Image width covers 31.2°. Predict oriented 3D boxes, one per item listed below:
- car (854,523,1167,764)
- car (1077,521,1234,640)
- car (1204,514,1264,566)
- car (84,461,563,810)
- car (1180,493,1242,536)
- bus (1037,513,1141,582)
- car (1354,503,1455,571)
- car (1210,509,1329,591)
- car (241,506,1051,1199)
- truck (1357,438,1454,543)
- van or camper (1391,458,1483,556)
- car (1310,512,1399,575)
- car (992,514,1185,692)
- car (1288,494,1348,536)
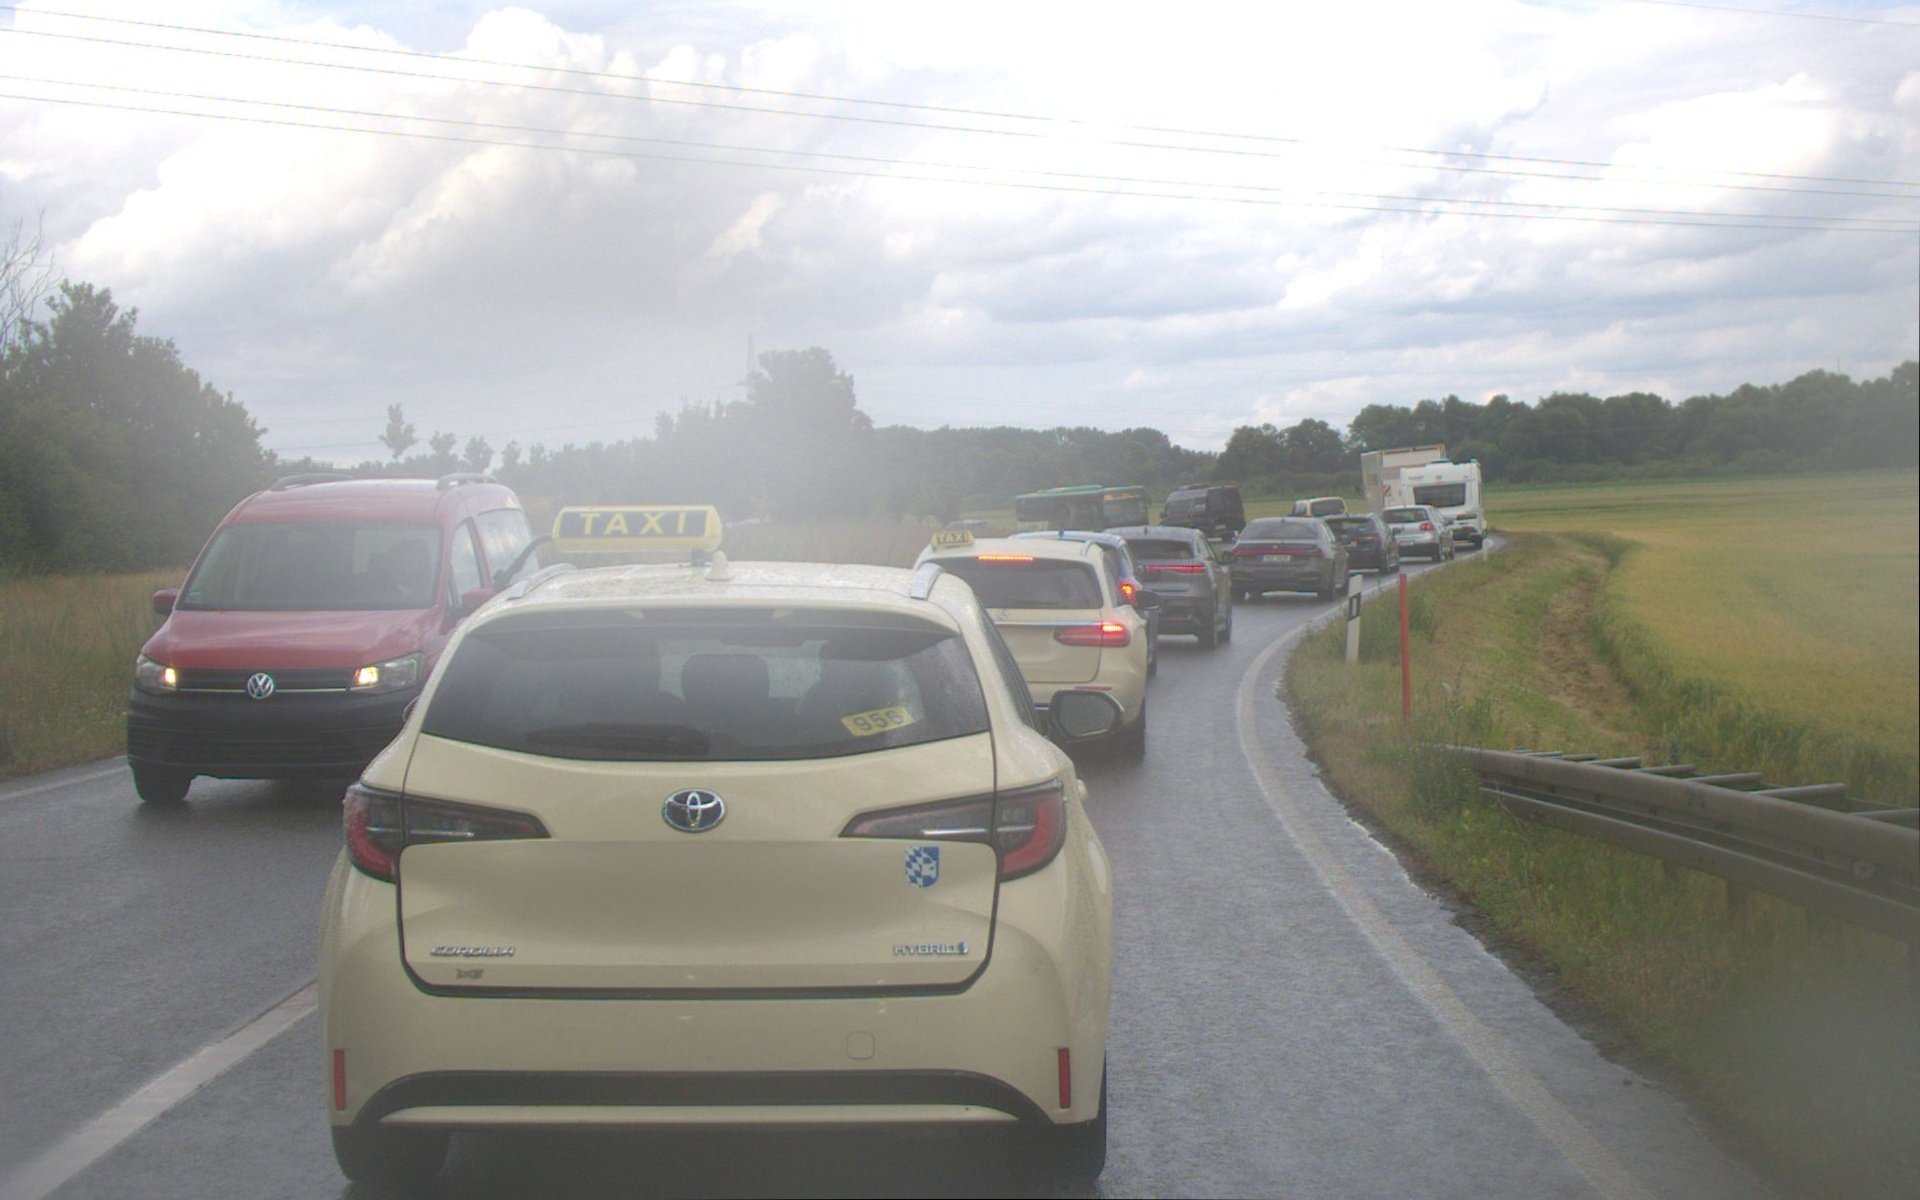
[{"bbox_3d":[0.455,0.225,24.148,1.841,1.487,4.607,0,2,5],"label":"car"},{"bbox_3d":[2.491,-0.253,43.103,1.613,1.408,3.737,1,1,9],"label":"car"},{"bbox_3d":[10.789,-2.355,135.580,1.993,2.007,4.246,1,0,0],"label":"car"},{"bbox_3d":[-3.654,0.168,20.579,1.801,1.844,4.520,-1,1,3],"label":"car"},{"bbox_3d":[12.180,-4.159,167.292,1.739,2.007,4.149,0,1,-15],"label":"car"},{"bbox_3d":[6.368,-2.669,172.243,2.757,3.286,12.506,0,2,-9],"label":"bus"},{"bbox_3d":[11.595,-1.626,89.467,1.961,1.723,3.735,1,1,17],"label":"car"},{"bbox_3d":[5.647,-0.897,62.367,1.960,1.408,4.391,1,1,7],"label":"car"},{"bbox_3d":[-0.682,0.579,8.779,1.612,1.557,3.739,1,1,-2],"label":"car"},{"bbox_3d":[17.068,-4.139,132.072,3.127,3.839,7.385,1,0,3],"label":"truck"},{"bbox_3d":[14.520,-2.832,104.263,2.537,2.886,6.740,0,2,10],"label":"van or camper"},{"bbox_3d":[9.063,-1.282,78.713,1.826,1.408,3.737,1,1,9],"label":"car"},{"bbox_3d":[1.321,0.013,34.073,1.613,1.653,3.737,1,1,7],"label":"car"},{"bbox_3d":[15.737,-3.719,151.211,1.882,1.767,4.161,0,1,-5],"label":"car"}]
